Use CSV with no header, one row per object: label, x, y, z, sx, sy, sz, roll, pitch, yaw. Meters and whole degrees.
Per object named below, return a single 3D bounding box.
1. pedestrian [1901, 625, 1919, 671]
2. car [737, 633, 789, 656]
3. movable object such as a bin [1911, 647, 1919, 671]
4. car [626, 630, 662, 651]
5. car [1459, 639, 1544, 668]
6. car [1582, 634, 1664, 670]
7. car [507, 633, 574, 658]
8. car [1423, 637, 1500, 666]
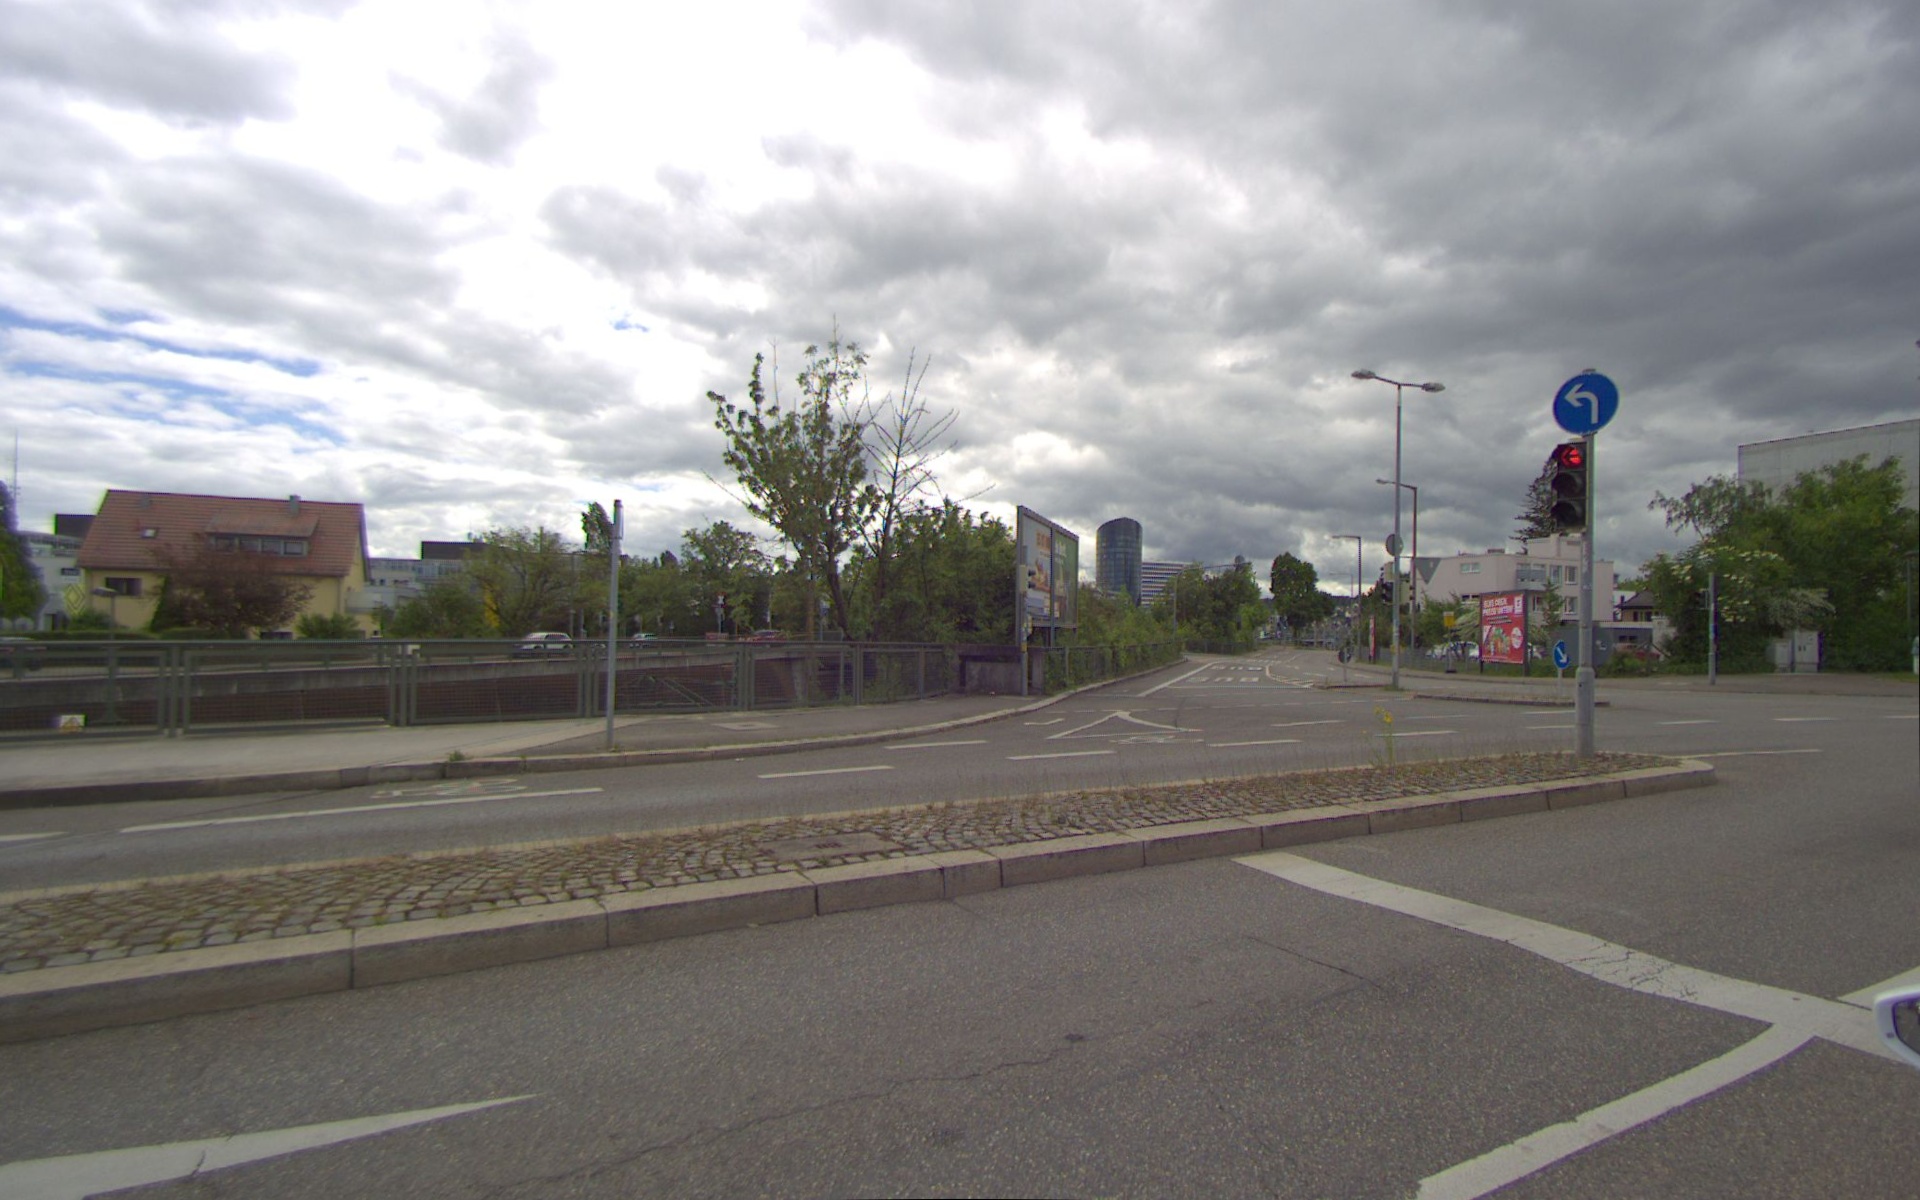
pedestrian,32.181,1.612,33.665,0.911,1.542,0.653,1,-2,-26
car,-16.505,3.698,84.221,3.923,1.684,1.797,2,1,24
movable object such as a bin,32.791,1.986,33.967,0.885,0.808,0.653,1,-2,-26
car,-30.051,3.834,95.425,1.723,1.685,3.950,1,2,-42
car,30.461,3.011,56.542,3.927,1.574,1.799,0,-2,-9
car,40.204,3.130,60.932,3.933,2.040,1.994,1,1,-15
car,-27.611,2.972,66.259,1.861,1.628,4.379,0,-2,13
car,30.786,3.175,61.733,3.927,1.741,1.799,0,-2,-9
